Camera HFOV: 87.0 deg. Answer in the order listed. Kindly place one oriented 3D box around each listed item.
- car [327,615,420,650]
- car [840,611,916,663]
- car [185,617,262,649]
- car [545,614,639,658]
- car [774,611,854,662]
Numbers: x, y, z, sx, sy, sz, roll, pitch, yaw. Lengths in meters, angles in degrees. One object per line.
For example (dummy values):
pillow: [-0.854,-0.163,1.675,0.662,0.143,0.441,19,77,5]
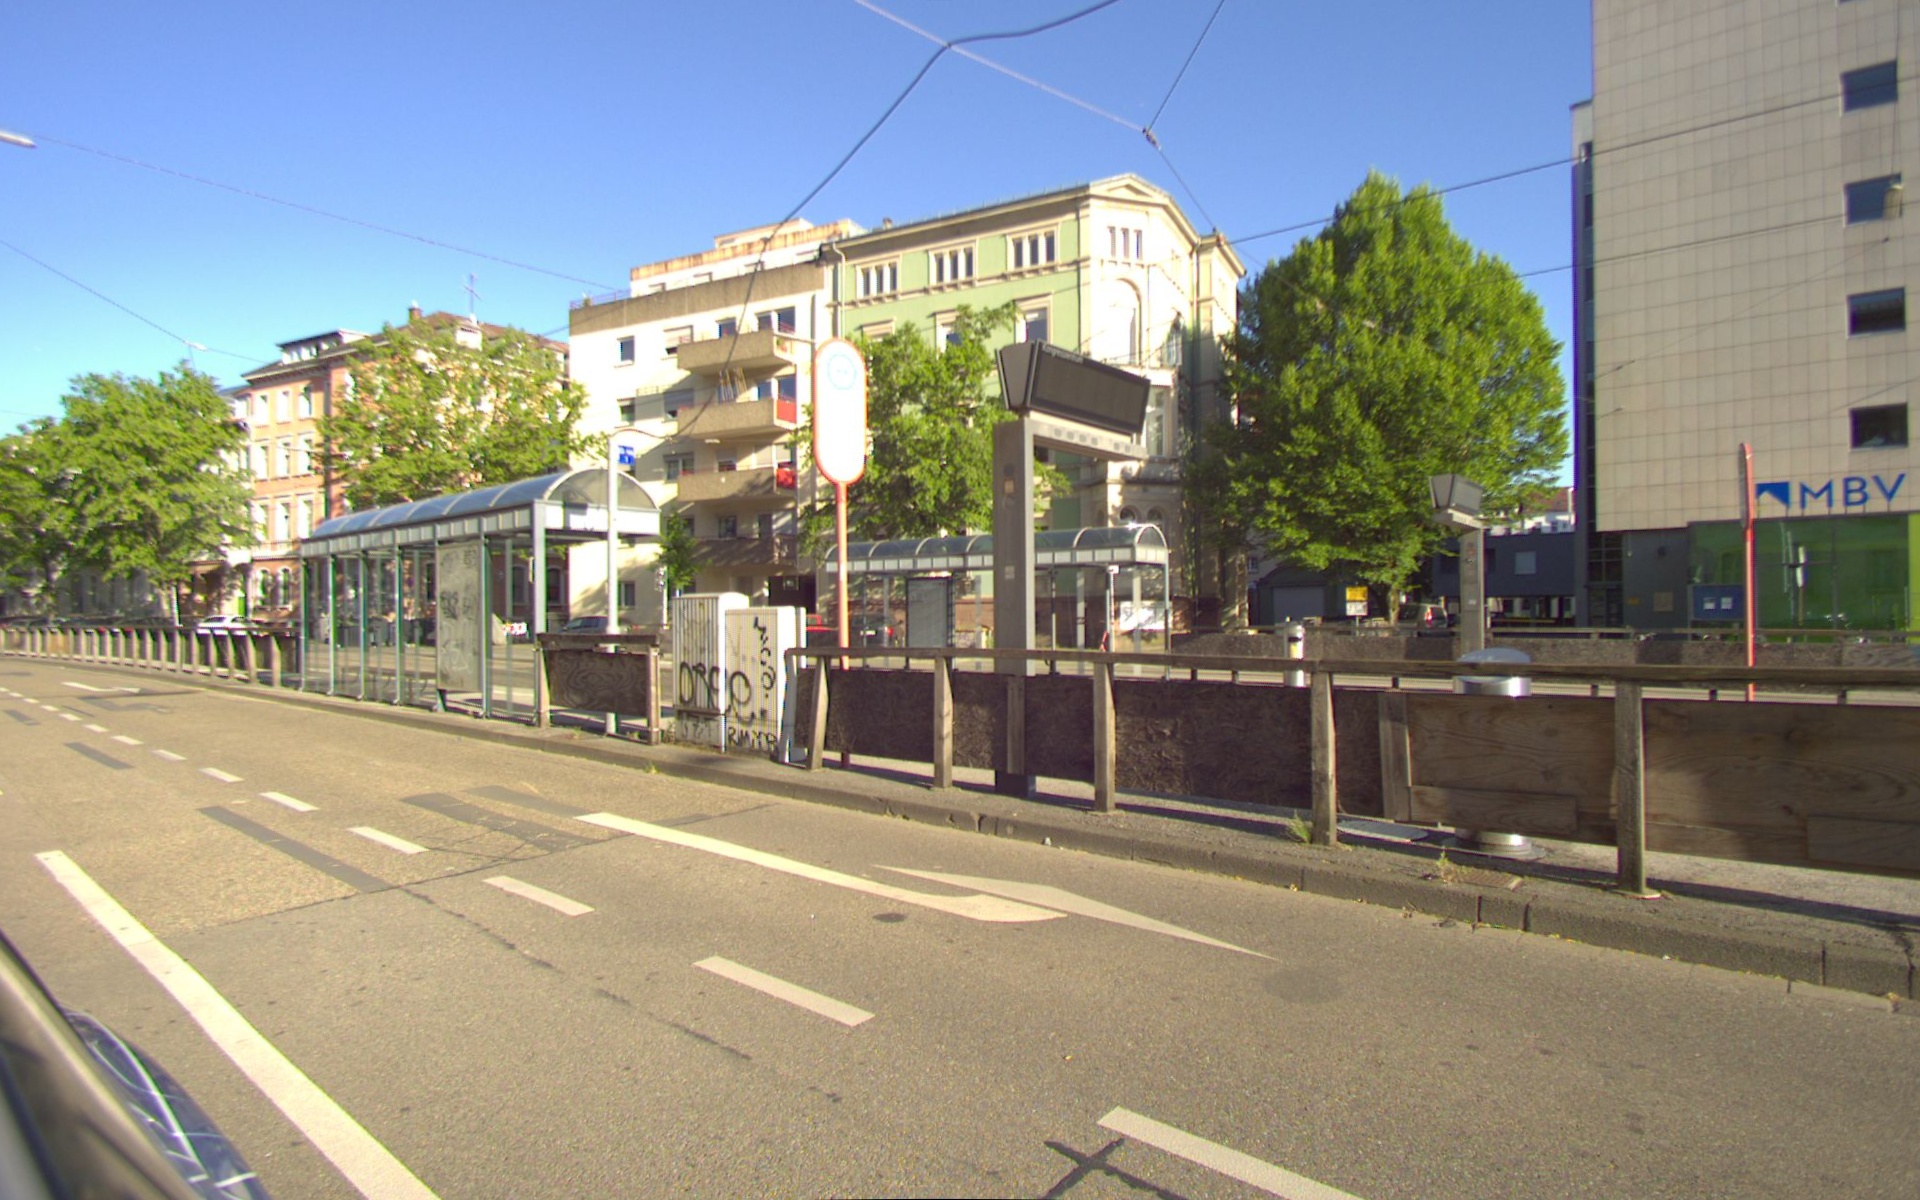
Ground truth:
car: [-28.401,1.550,49.061,1.626,1.579,3.560,-1,0,33]
car: [-2.651,1.179,33.374,1.614,1.579,3.588,-1,0,11]
car: [-39.400,1.729,54.219,1.607,1.579,3.601,-1,0,-2]
car: [-14.036,1.325,38.523,3.592,1.579,1.612,-1,0,35]
car: [-4.924,1.208,34.570,1.614,1.579,3.588,-1,0,11]
